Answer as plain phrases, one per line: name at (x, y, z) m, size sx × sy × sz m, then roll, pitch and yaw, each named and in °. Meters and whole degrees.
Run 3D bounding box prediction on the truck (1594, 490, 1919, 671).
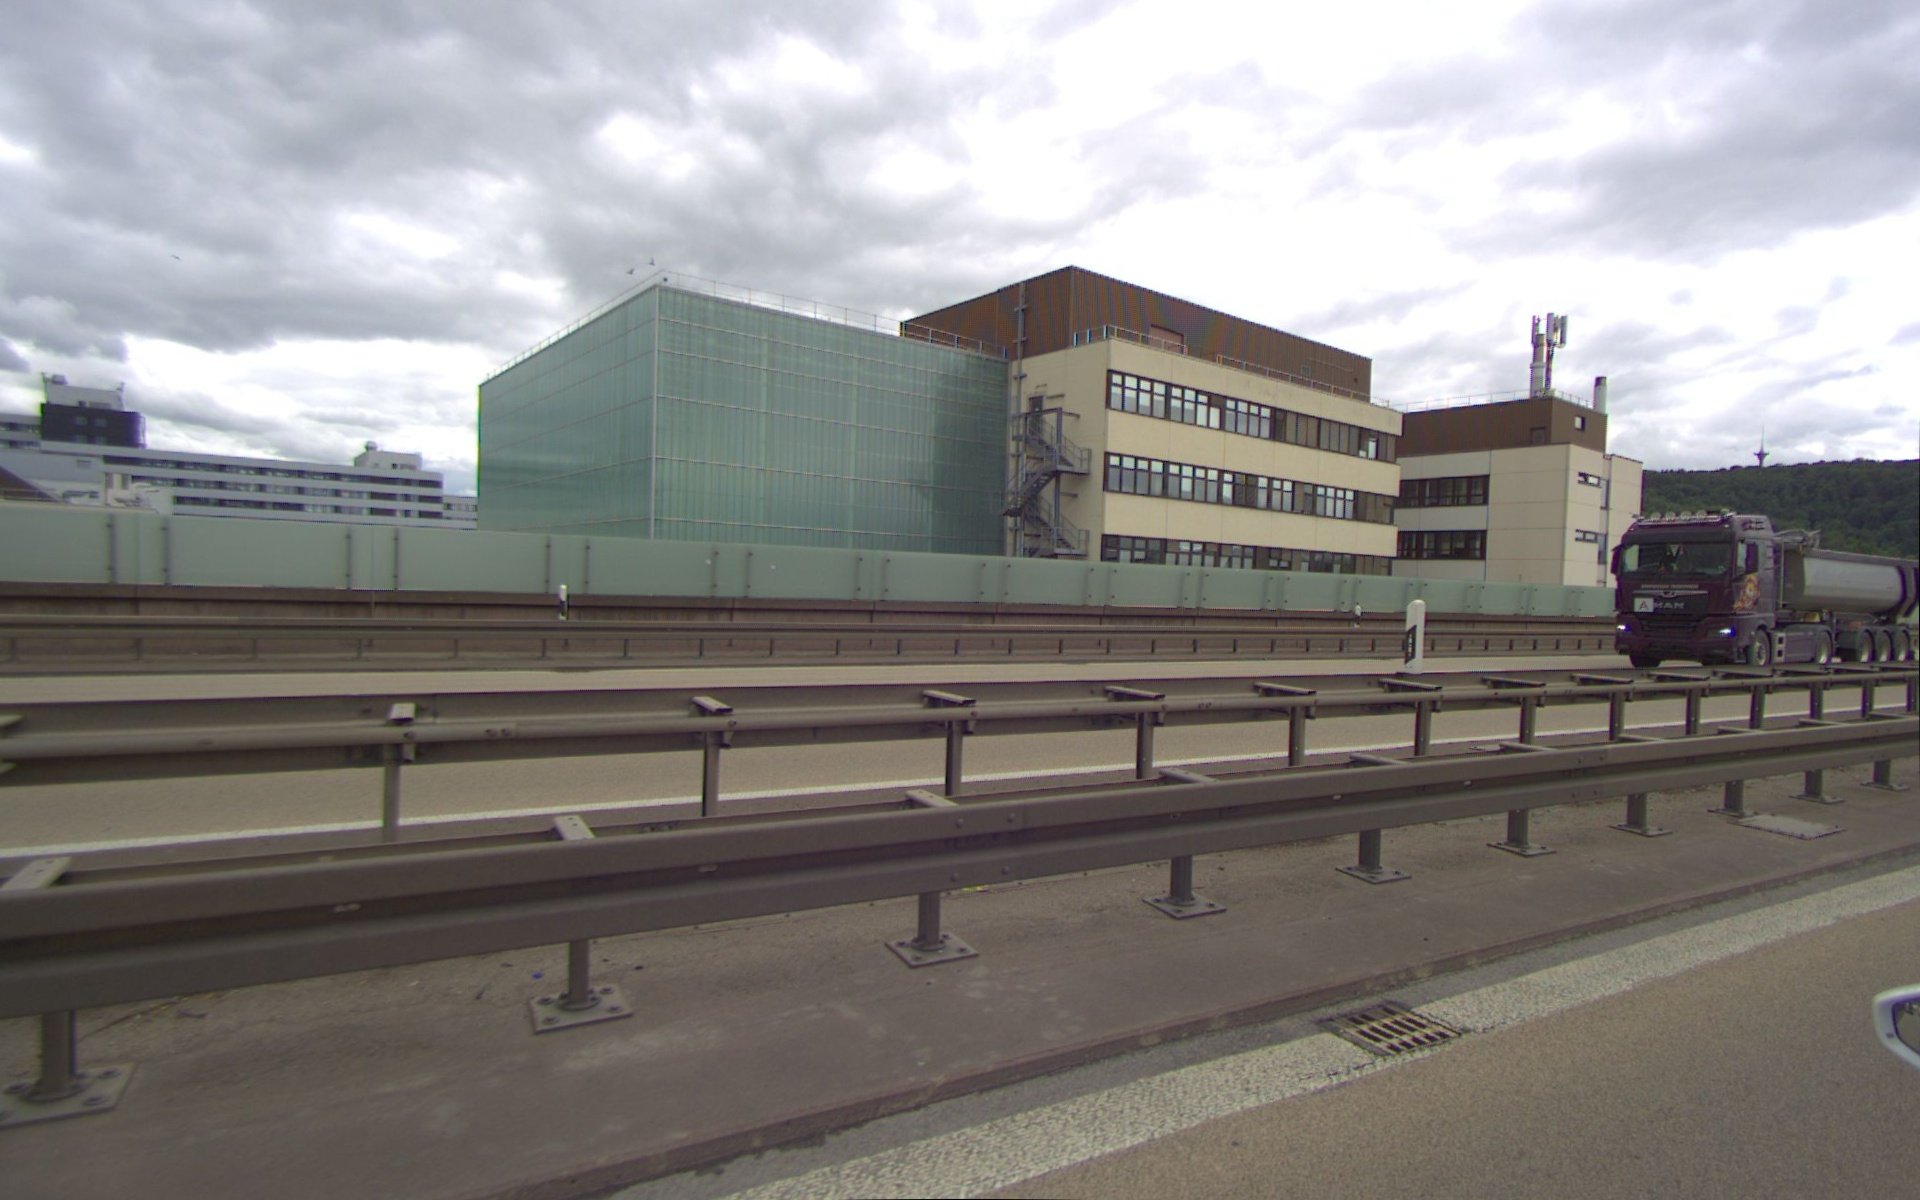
truck at (20.906, -0.264, 25.849) m, size 11.885 × 3.860 × 2.796 m, roll 2°, pitch 0°, yaw -32°
